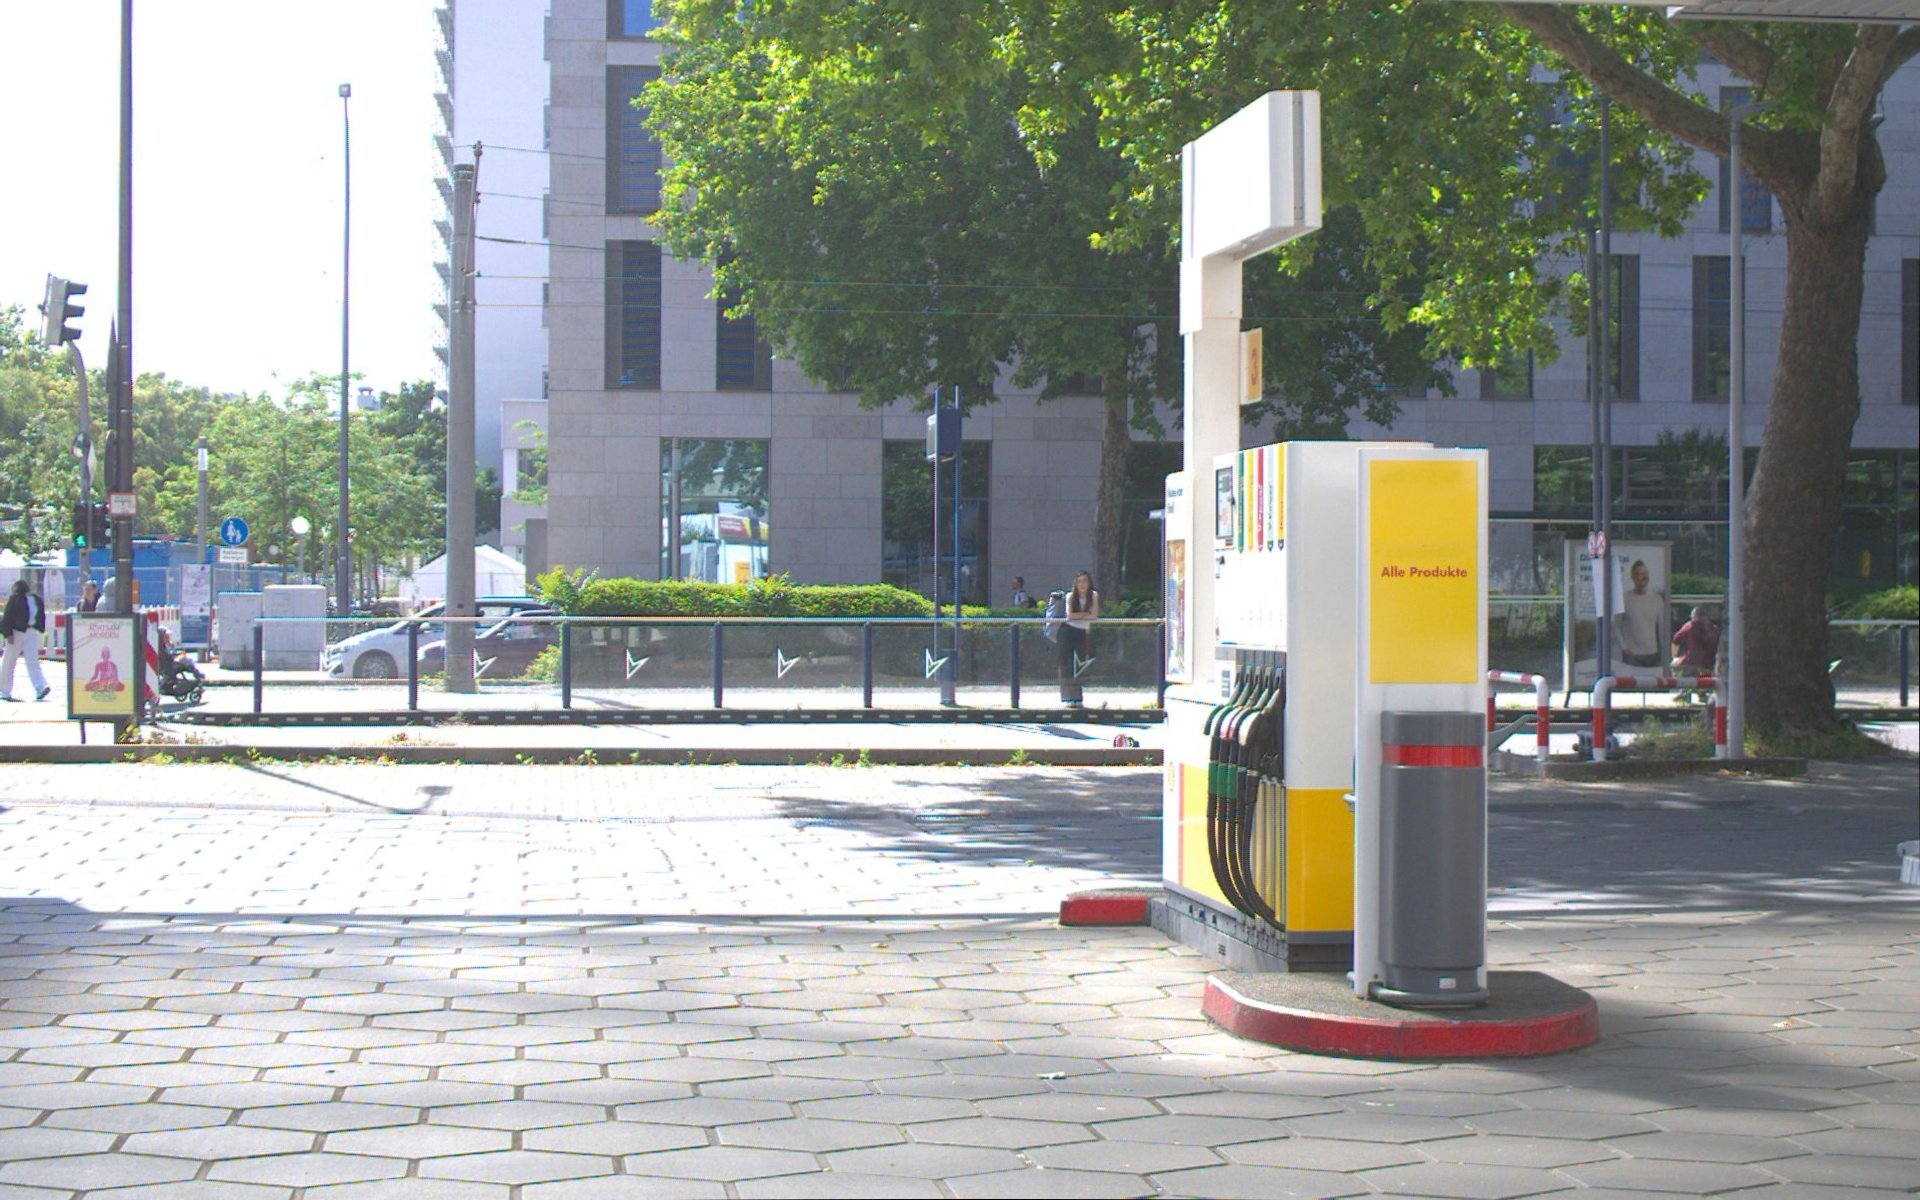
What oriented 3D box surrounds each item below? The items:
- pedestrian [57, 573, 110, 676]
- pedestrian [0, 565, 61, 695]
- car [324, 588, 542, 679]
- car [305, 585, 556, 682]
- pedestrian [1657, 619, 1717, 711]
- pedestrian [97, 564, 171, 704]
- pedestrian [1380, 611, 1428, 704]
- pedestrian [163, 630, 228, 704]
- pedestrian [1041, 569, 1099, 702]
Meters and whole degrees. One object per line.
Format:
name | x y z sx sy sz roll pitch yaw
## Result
pedestrian | -13.240 0.365 51.960 0.650 1.535 0.503 0 0 2
pedestrian | -12.277 0.382 44.834 0.932 1.677 0.503 0 0 6
car | -9.258 0.583 60.319 3.681 1.547 1.592 0 0 -12
car | -8.755 0.547 56.769 3.986 1.547 1.704 0 0 -12
pedestrian | 9.058 0.803 42.845 0.628 1.134 0.524 0 0 0
pedestrian | -9.939 0.406 41.360 0.776 1.677 0.503 0 0 -23
pedestrian | 5.469 0.709 42.351 0.499 1.134 0.524 1 0 0
pedestrian | -9.263 0.806 41.653 0.690 0.877 0.503 0 0 -22
pedestrian | 1.333 0.422 41.637 0.584 1.586 0.670 0 2 -7
